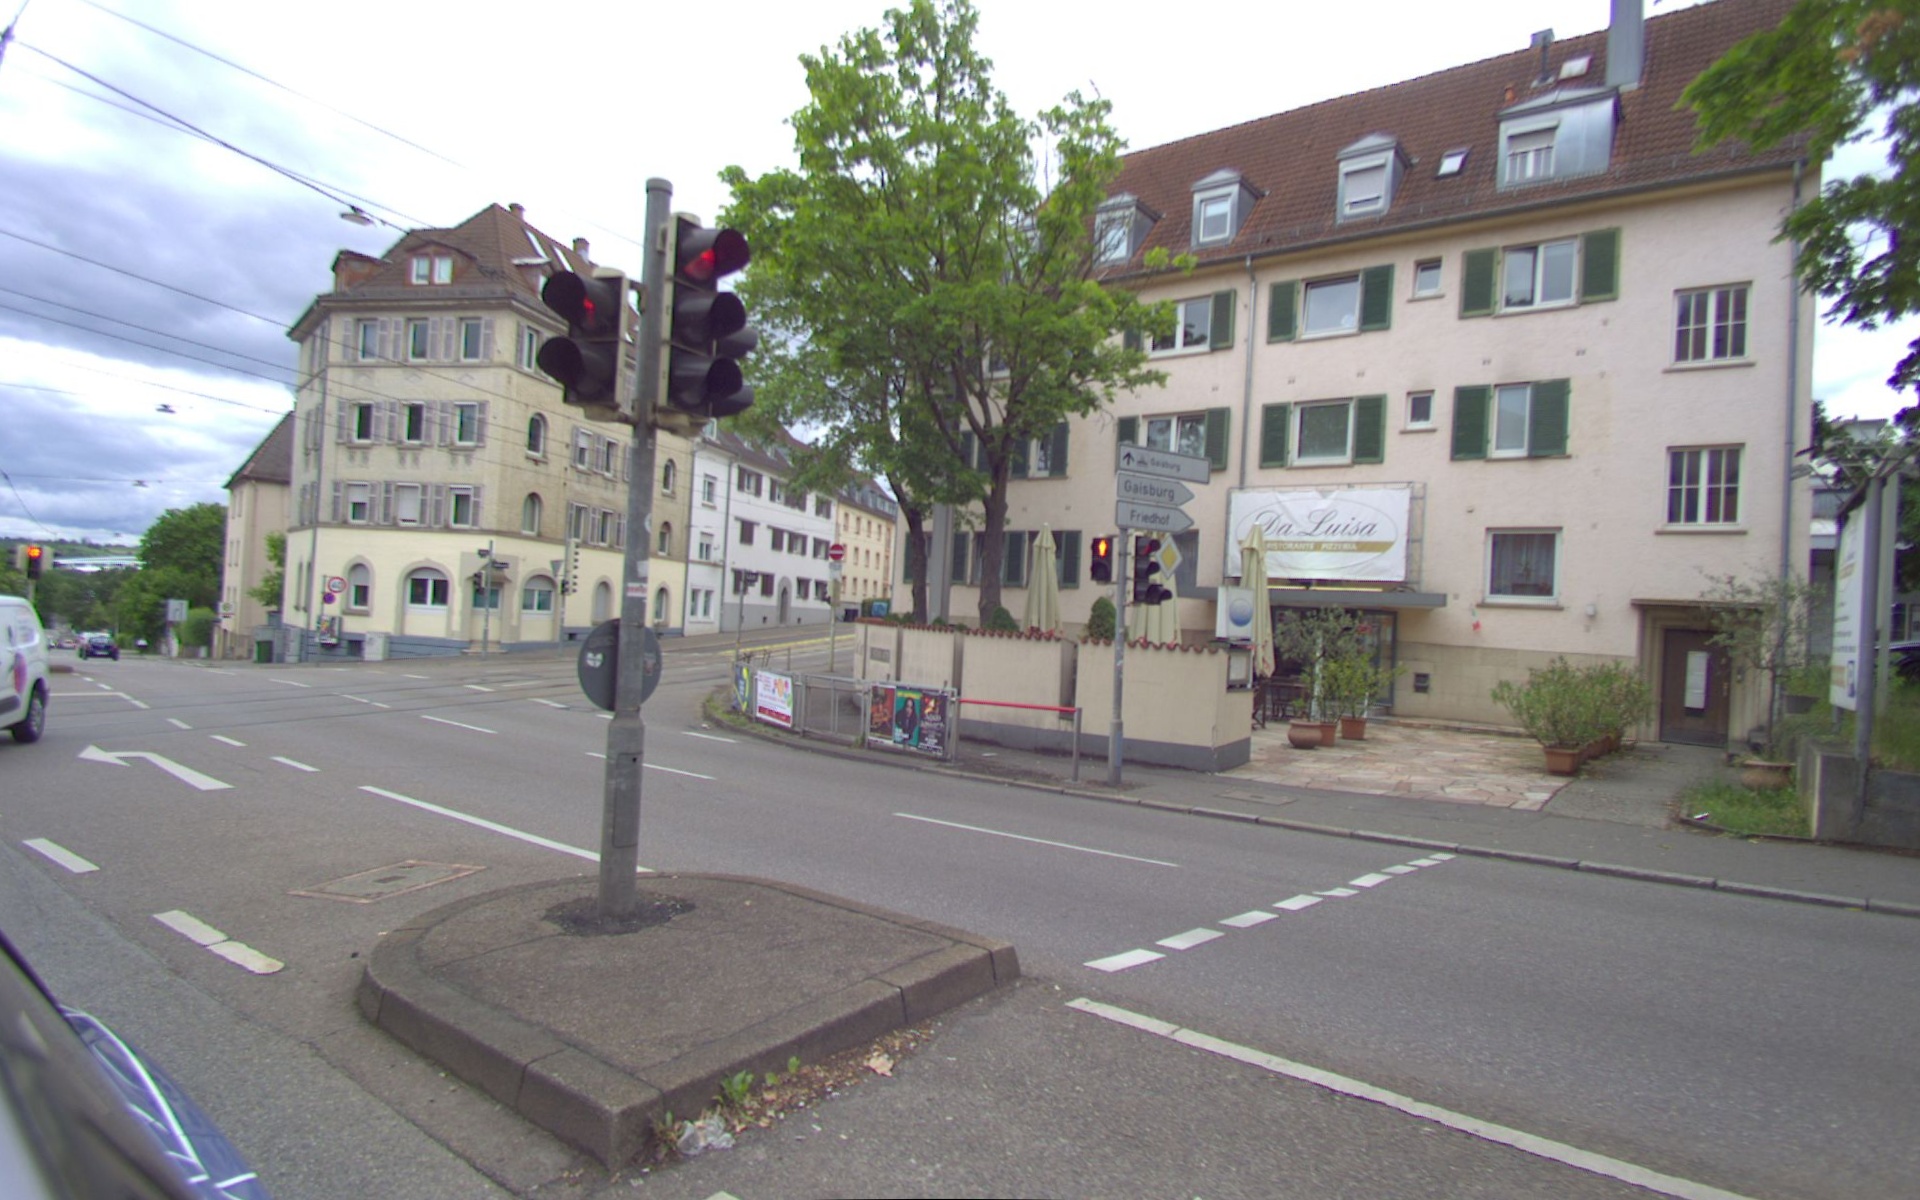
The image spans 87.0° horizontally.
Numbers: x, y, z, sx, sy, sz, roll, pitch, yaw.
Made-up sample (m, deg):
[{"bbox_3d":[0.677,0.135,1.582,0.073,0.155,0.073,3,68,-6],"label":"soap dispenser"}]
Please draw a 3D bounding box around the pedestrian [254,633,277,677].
[{"bbox_3d":[-31.316,2.469,45.615,0.735,1.951,0.904,0,-2,-42],"label":"pedestrian"}]

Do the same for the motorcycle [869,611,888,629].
[{"bbox_3d":[-6.721,1.644,83.581,0.727,1.400,1.924,6,1,19],"label":"motorcycle"}]

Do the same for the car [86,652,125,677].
[{"bbox_3d":[-53.089,3.961,62.915,1.732,1.458,3.758,2,-3,-39],"label":"car"}]

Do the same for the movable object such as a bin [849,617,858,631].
[{"bbox_3d":[-8.049,1.837,76.583,0.558,1.017,0.498,5,0,4],"label":"movable object such as a bin"}]

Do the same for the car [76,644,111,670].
[{"bbox_3d":[-67.474,4.436,78.783,1.842,1.898,4.290,7,-7,-42],"label":"car"}]

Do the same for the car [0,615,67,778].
[{"bbox_3d":[-11.665,1.074,10.987,1.857,1.852,4.691,1,-2,-28],"label":"car"}]

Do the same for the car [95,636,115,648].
[{"bbox_3d":[-115.174,5.637,136.336,1.968,1.612,4.007,1,-3,-39],"label":"car"}]

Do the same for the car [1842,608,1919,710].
[{"bbox_3d":[19.063,1.040,17.914,4.896,1.817,2.042,-2,-3,34],"label":"car"}]

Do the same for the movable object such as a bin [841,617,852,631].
[{"bbox_3d":[-8.486,1.791,75.717,0.632,1.017,0.600,5,0,13],"label":"movable object such as a bin"}]
